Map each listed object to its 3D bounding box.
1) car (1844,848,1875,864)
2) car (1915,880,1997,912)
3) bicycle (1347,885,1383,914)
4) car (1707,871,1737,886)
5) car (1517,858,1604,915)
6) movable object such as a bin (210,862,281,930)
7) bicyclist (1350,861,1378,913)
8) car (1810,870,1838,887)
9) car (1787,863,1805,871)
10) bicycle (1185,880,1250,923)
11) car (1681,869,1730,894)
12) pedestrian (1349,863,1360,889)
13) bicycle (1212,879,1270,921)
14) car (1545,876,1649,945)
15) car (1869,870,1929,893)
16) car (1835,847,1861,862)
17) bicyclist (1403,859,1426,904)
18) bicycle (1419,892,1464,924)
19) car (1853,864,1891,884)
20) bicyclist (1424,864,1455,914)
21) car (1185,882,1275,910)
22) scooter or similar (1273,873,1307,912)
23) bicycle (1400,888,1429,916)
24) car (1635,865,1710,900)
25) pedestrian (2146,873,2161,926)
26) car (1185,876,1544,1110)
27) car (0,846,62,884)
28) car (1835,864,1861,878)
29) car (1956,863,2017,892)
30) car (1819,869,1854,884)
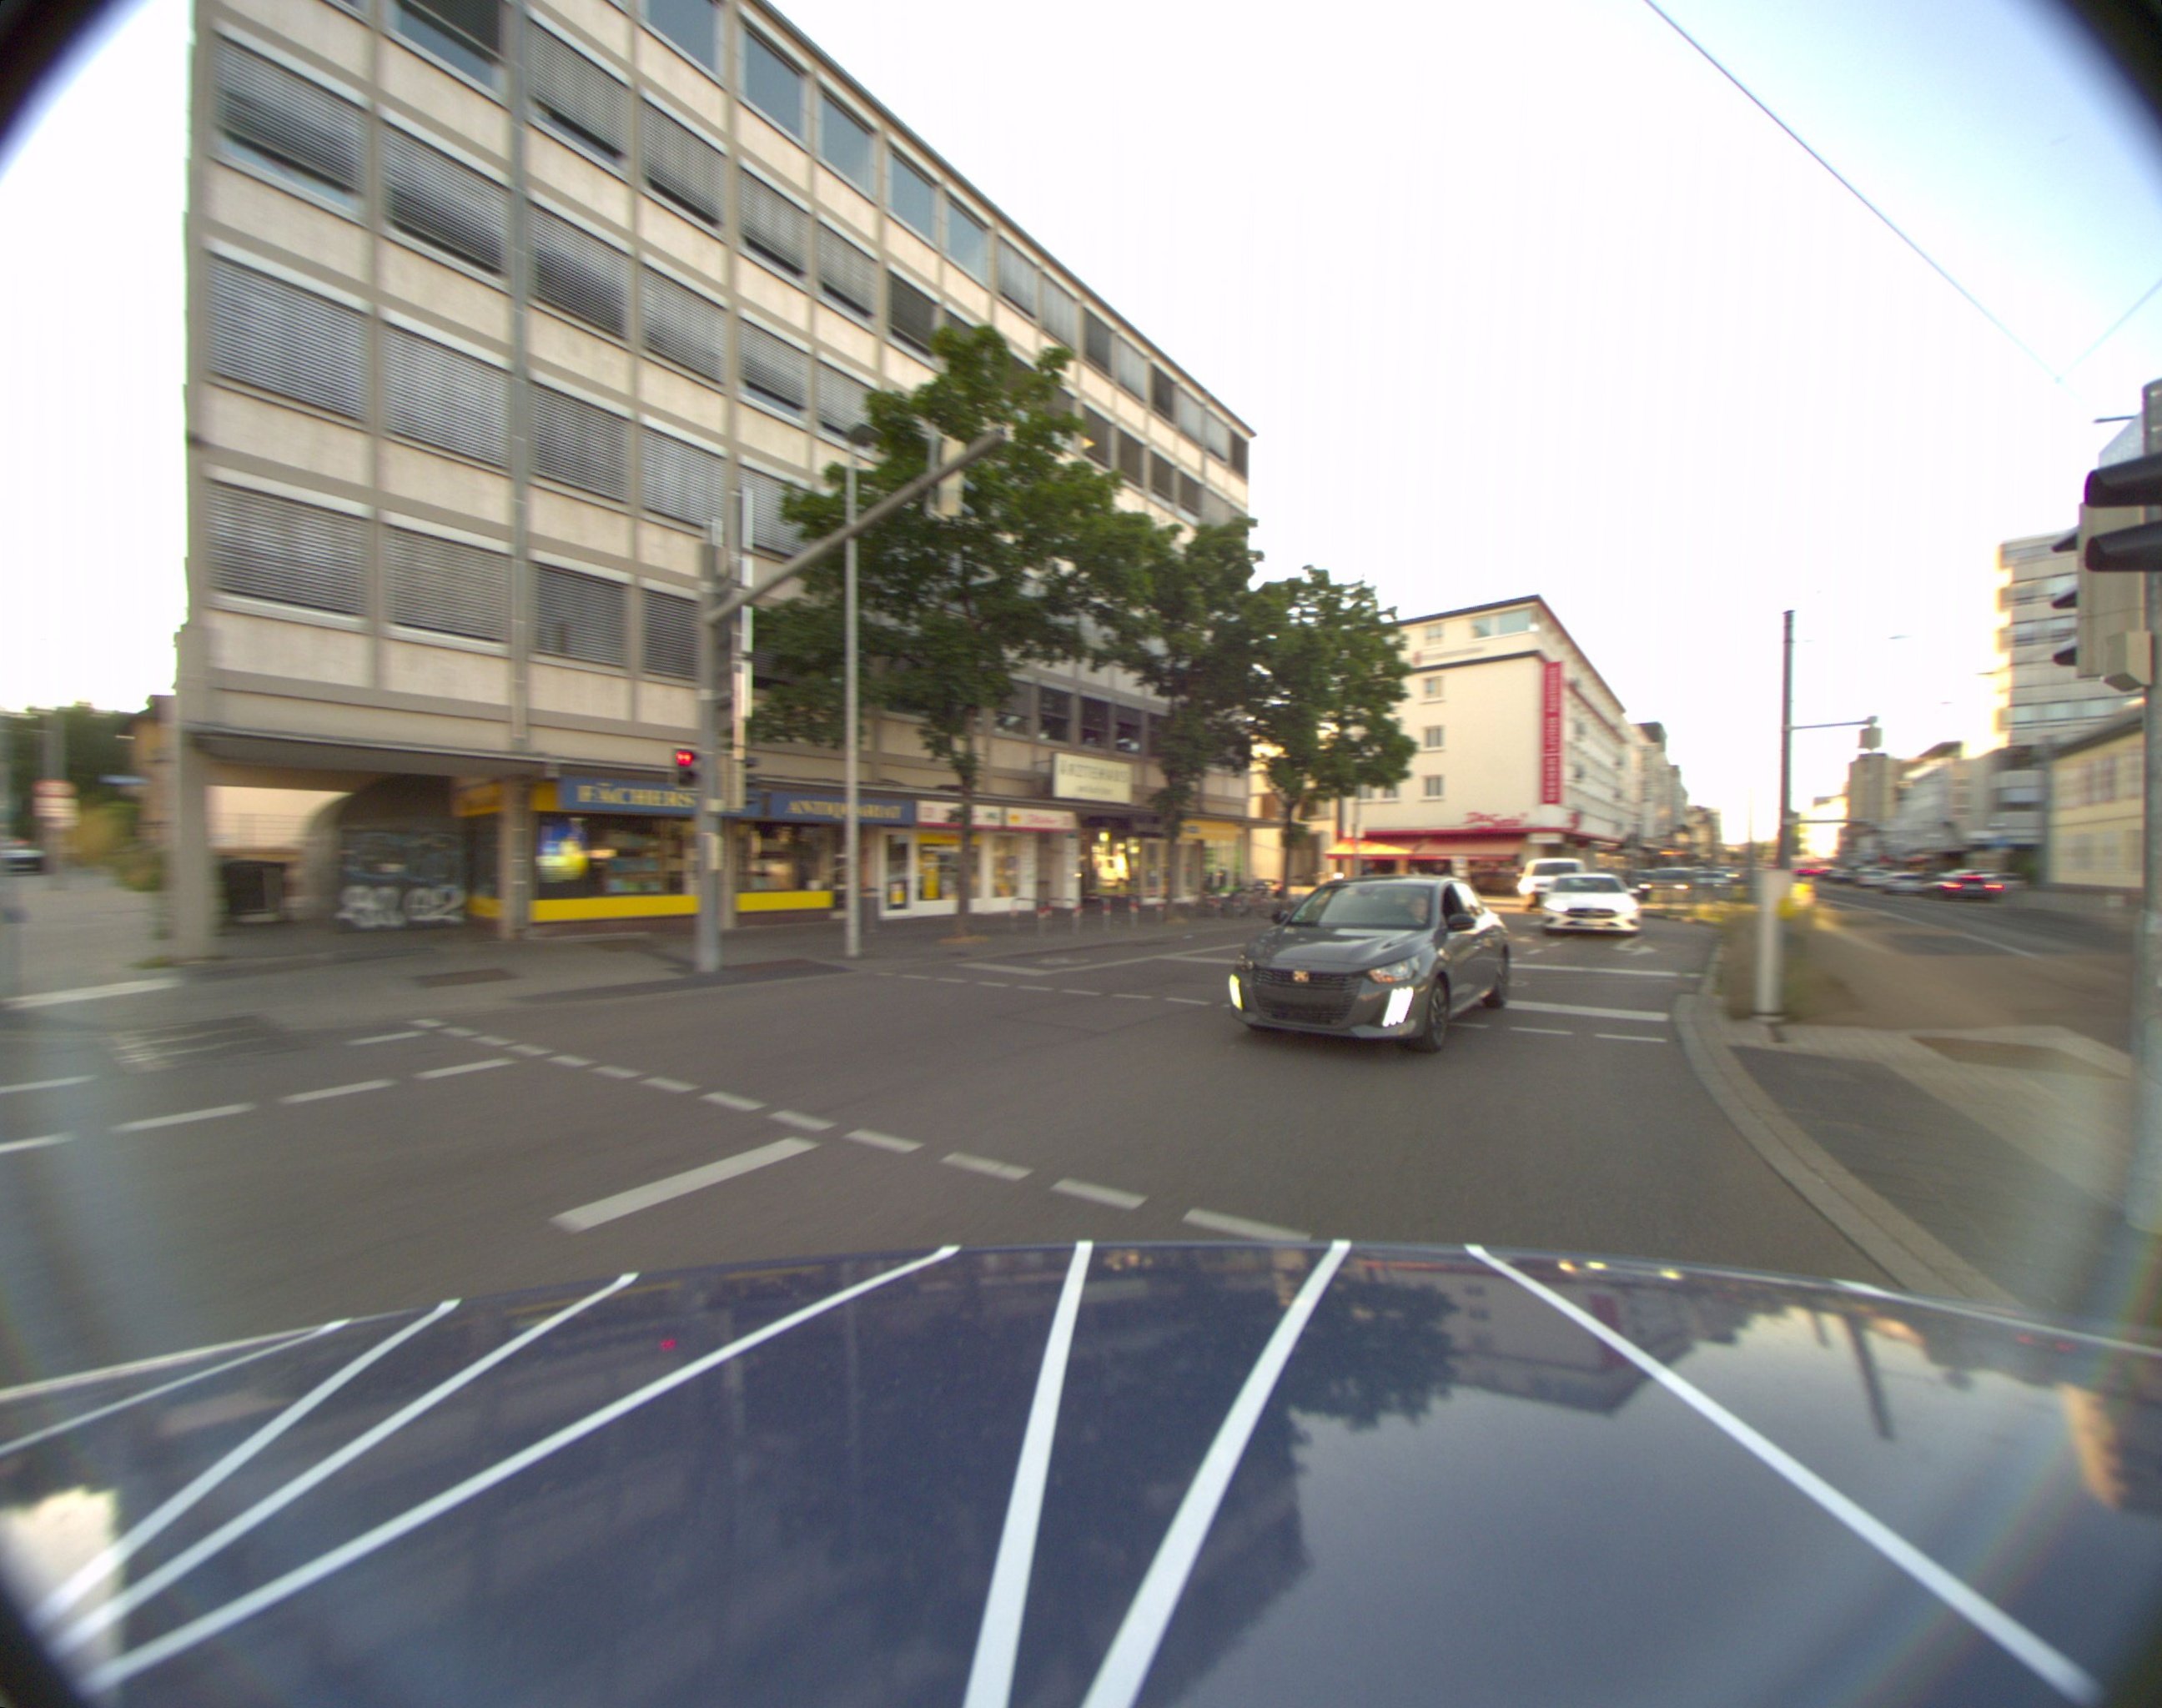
[{"bbox_3d":[95.225,0.215,92.958,1.994,1.936,4.009,1,0,36],"label":"car"},{"bbox_3d":[47.236,2.251,41.131,1.995,1.507,4.424,-2,-2,37],"label":"car"},{"bbox_3d":[9.795,1.562,26.166,0.674,0.896,1.694,1,0,38],"label":"bicycle"},{"bbox_3d":[72.480,2.721,85.859,2.198,1.550,4.290,1,0,45],"label":"car"},{"bbox_3d":[17.019,1.123,26.871,1.995,1.827,4.887,0,-2,39],"label":"car"},{"bbox_3d":[-17.471,0.846,15.921,1.410,1.319,0.962,1,1,44],"label":"movable object such as a bin"},{"bbox_3d":[9.720,1.115,26.062,0.664,1.717,0.812,1,1,37],"label":"bicyclist"},{"bbox_3d":[88.782,2.906,90.801,1.994,1.978,4.129,1,0,39],"label":"car"},{"bbox_3d":[127.280,2.322,135.336,1.844,1.499,4.009,1,0,36],"label":"car"},{"bbox_3d":[4.026,1.381,22.442,1.740,1.133,0.668,2,1,33],"label":"bicycle"},{"bbox_3d":[39.312,1.696,47.798,2.034,1.432,4.671,2,1,44],"label":"car"},{"bbox_3d":[15.411,1.231,42.770,0.508,1.441,0.507,1,1,14],"label":"pedestrian"},{"bbox_3d":[4.835,1.378,23.035,1.632,1.178,0.539,2,1,41],"label":"bicycle"},{"bbox_3d":[12.234,1.256,18.230,1.812,1.440,4.573,-2,-2,32],"label":"car"},{"bbox_3d":[53.571,1.777,49.839,1.910,1.402,4.347,1,0,37],"label":"car"},{"bbox_3d":[108.207,0.043,107.224,1.995,2.001,4.009,-2,-1,36],"label":"car"},{"bbox_3d":[11.144,0.918,25.401,0.587,1.478,0.719,1,0,13],"label":"bicyclist"},{"bbox_3d":[10.725,1.587,22.653,0.614,0.820,1.806,1,0,6],"label":"bicycle"},{"bbox_3d":[66.748,1.662,64.186,1.835,1.589,4.081,0,-1,41],"label":"car"},{"bbox_3d":[10.700,1.034,22.669,0.613,1.478,0.718,1,0,6],"label":"bicyclist"},{"bbox_3d":[7.837,2.199,40.173,4.372,1.427,1.736,0,-1,-8],"label":"car"},{"bbox_3d":[7.361,1.330,26.755,0.515,1.314,1.279,1,0,-19],"label":"scooter or similar"},{"bbox_3d":[11.141,1.580,25.426,0.599,0.820,1.742,1,0,14],"label":"bicycle"},{"bbox_3d":[29.280,1.361,37.558,4.311,1.565,1.994,1,0,-39],"label":"car"},{"bbox_3d":[31.336,1.299,21.509,1.005,1.494,1.043,1,0,-12],"label":"pedestrian"},{"bbox_3d":[3.128,1.023,7.616,1.912,1.494,4.713,1,0,40],"label":"car"},{"bbox_3d":[-57.685,0.573,41.598,4.249,2.002,2.004,0,0,40],"label":"car"},{"bbox_3d":[104.376,2.300,103.431,1.994,1.936,4.009,1,-1,38],"label":"car"},{"bbox_3d":[55.822,1.432,46.906,1.732,1.698,3.447,1,0,39],"label":"car"},{"bbox_3d":[76.092,2.254,76.606,2.013,1.420,4.666,0,-1,39],"label":"car"}]
